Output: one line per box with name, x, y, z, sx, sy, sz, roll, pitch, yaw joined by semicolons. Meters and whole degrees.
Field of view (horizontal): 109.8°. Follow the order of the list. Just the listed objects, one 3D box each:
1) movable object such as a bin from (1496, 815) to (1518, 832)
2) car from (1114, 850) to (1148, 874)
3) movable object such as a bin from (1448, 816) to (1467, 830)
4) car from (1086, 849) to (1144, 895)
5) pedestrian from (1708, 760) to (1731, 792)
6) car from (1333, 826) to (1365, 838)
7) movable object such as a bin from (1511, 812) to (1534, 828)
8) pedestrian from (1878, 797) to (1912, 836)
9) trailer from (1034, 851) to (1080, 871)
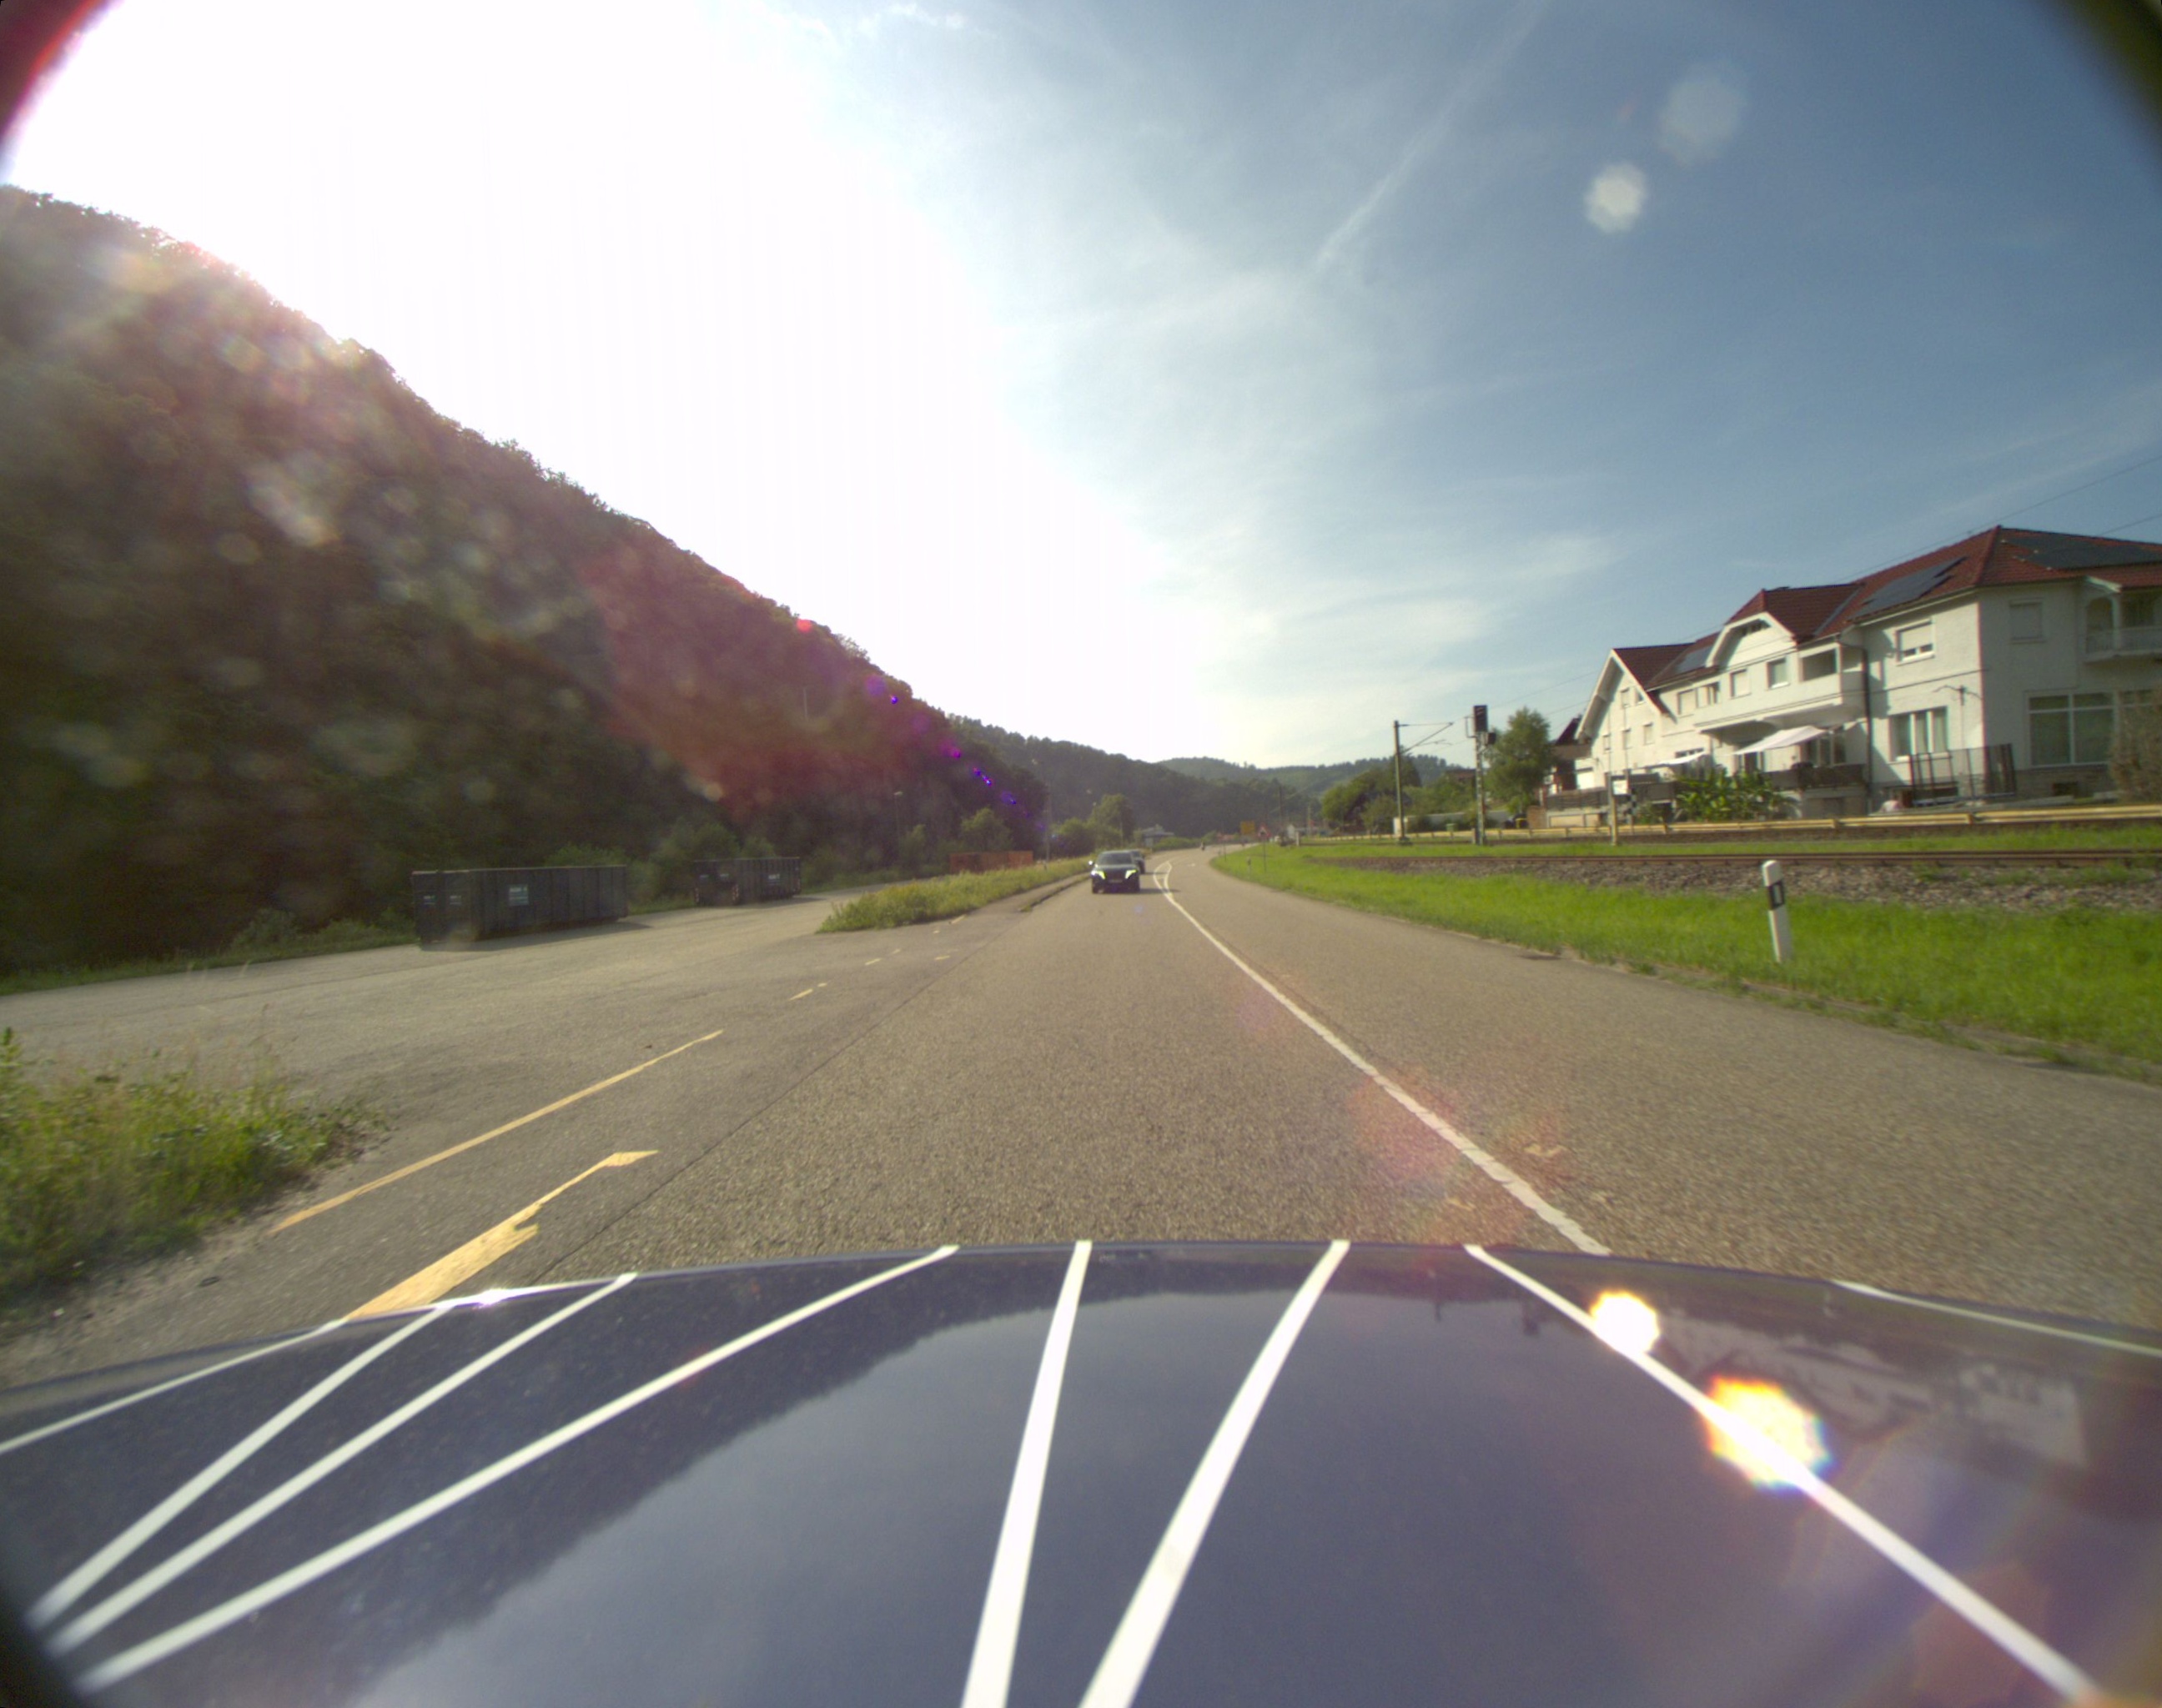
movable object such as a bin;33.501;-2.385;59.745;1.092;1.185;1.143;-4;1;7
car;3.523;0.518;52.837;1.918;1.455;4.002;-4;0;9
movable object such as a bin;35.239;-2.875;71.120;1.142;1.185;1.093;-4;1;1
car;1.507;0.662;31.162;1.998;1.661;5.512;-2;0;6
pedestrian;34.580;-4.222;41.153;0.608;1.607;0.678;-4;1;6
car;67.521;-5.433;191.714;7.070;2.442;2.953;-4;0;29
movable object such as a bin;34.653;-2.648;59.662;1.092;1.185;1.143;-4;1;7
pedestrian;34.152;-1.565;31.882;0.677;1.607;0.608;-4;1;5
trailer;-2.205;0.596;75.208;2.797;1.466;9.891;-5;0;8
